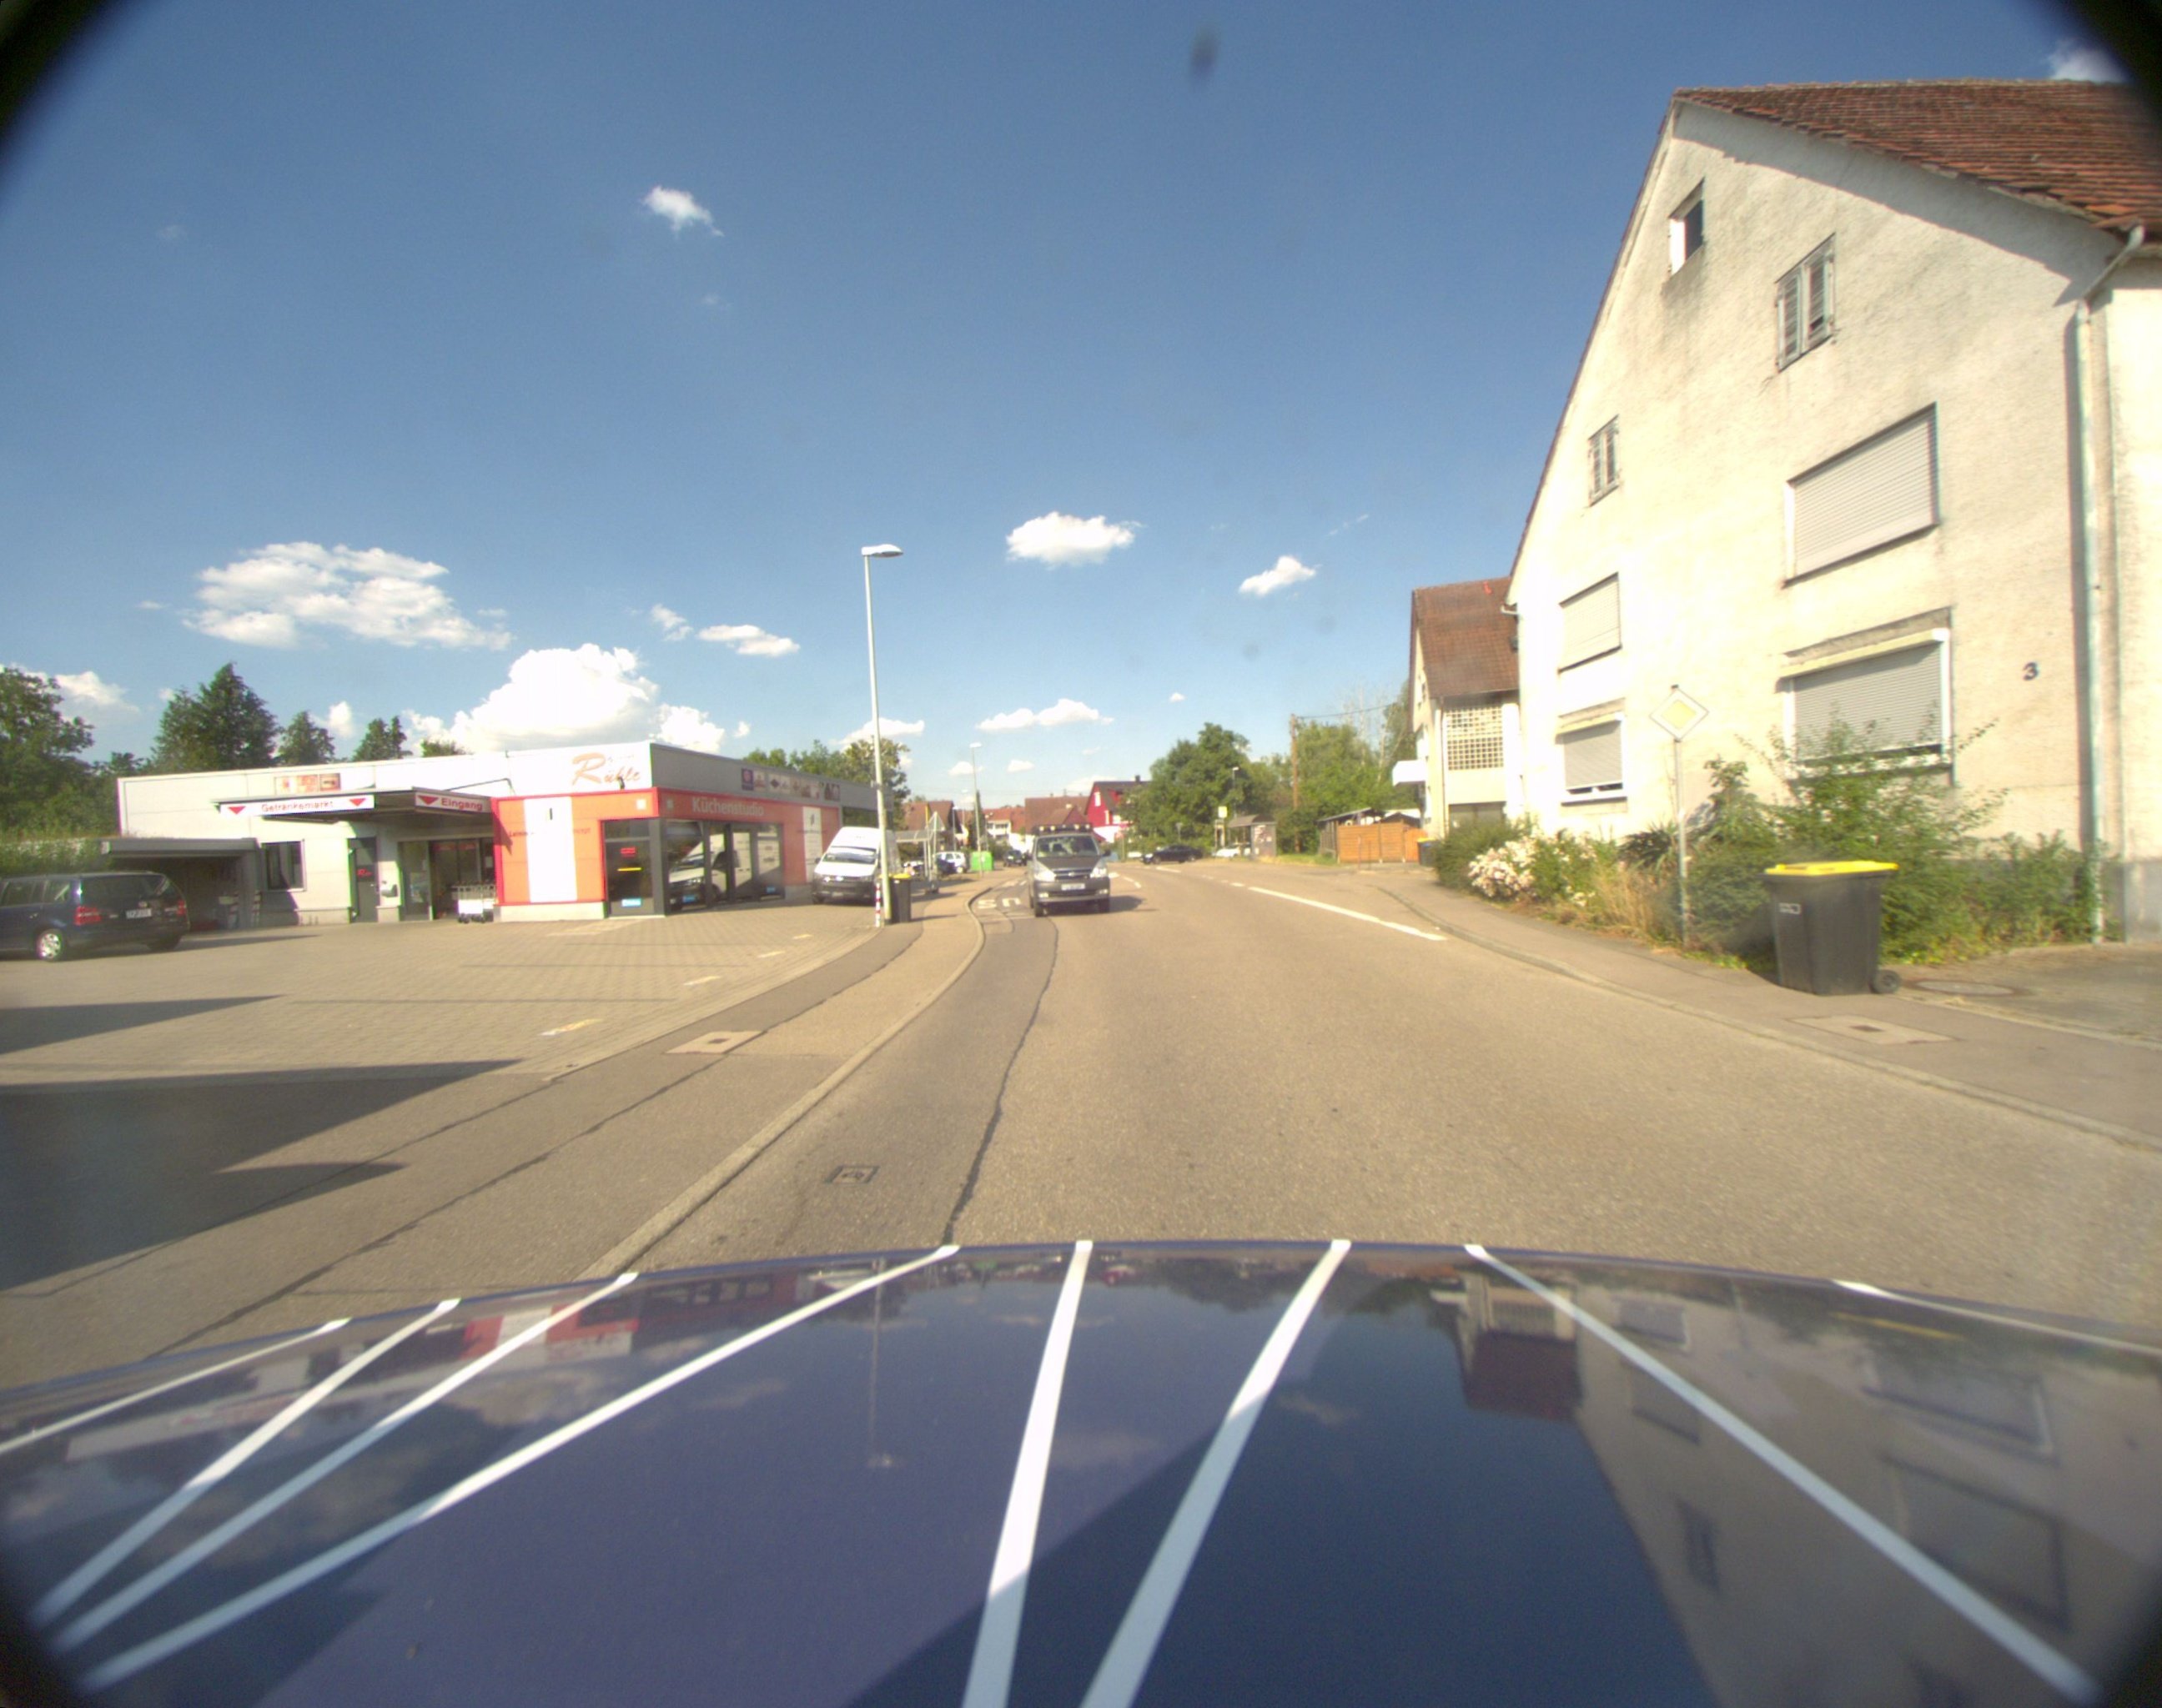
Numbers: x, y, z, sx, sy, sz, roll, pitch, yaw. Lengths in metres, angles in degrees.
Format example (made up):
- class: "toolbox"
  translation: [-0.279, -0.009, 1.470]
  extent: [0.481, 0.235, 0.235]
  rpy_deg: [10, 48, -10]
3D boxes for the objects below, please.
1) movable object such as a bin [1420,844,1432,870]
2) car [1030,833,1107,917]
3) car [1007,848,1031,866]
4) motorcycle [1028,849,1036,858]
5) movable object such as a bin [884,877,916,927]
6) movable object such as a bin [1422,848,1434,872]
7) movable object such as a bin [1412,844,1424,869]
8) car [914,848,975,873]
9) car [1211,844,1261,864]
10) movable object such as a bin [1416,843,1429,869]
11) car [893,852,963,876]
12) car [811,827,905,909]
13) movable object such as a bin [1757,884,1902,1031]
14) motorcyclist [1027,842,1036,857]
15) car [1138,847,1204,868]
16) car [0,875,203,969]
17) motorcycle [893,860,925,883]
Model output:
- class: "movable object such as a bin"
  translation: [13.905, 0.126, 30.622]
  extent: [0.361, 1.017, 0.577]
  rpy_deg: [-2, 3, 17]
- class: "car"
  translation: [-0.389, 0.490, 20.863]
  extent: [1.820, 1.989, 4.819]
  rpy_deg: [-1, 1, -2]
- class: "car"
  translation: [-6.028, 0.295, 73.537]
  extent: [1.974, 1.647, 3.996]
  rpy_deg: [-1, 1, -9]
- class: "motorcycle"
  translation: [-5.394, -0.062, 83.602]
  extent: [0.540, 1.007, 2.026]
  rpy_deg: [-5, 1, -9]
- class: "movable object such as a bin"
  translation: [-4.003, 1.052, 16.843]
  extent: [0.568, 1.069, 0.572]
  rpy_deg: [-2, 1, -4]
- class: "movable object such as a bin"
  translation: [13.733, 0.228, 30.070]
  extent: [0.361, 0.920, 0.400]
  rpy_deg: [-2, 3, 17]
- class: "movable object such as a bin"
  translation: [14.131, 0.088, 31.828]
  extent: [0.361, 1.010, 0.558]
  rpy_deg: [-2, 3, 17]
- class: "car"
  translation: [-9.632, 0.451, 53.937]
  extent: [3.949, 1.594, 1.682]
  rpy_deg: [-2, 2, 0]
- class: "car"
  translation: [13.348, -0.022, 65.397]
  extent: [4.282, 1.483, 1.857]
  rpy_deg: [-3, 2, -37]
- class: "movable object such as a bin"
  translation: [14.037, 0.092, 31.233]
  extent: [0.361, 1.035, 0.558]
  rpy_deg: [-2, 3, 17]
- class: "car"
  translation: [-9.650, 0.638, 48.151]
  extent: [4.074, 1.409, 1.625]
  rpy_deg: [-1, 2, 2]
- class: "car"
  translation: [-7.086, 0.387, 24.695]
  extent: [1.841, 2.361, 5.176]
  rpy_deg: [1, 1, -4]
- class: "movable object such as a bin"
  translation: [6.184, 0.833, 6.307]
  extent: [0.612, 1.095, 0.575]
  rpy_deg: [-4, 2, 0]
- class: "motorcyclist"
  translation: [-5.441, -0.498, 83.584]
  extent: [0.738, 1.518, 1.015]
  rpy_deg: [-6, 2, -10]
- class: "car"
  translation: [7.000, 0.237, 59.090]
  extent: [4.849, 1.423, 1.768]
  rpy_deg: [-2, 2, -22]
- class: "car"
  translation: [-19.939, 1.309, 14.891]
  extent: [3.640, 1.586, 1.640]
  rpy_deg: [-2, 2, 5]
- class: "motorcycle"
  translation: [-10.377, 1.051, 45.925]
  extent: [1.832, 1.316, 0.639]
  rpy_deg: [-1, 1, -17]
